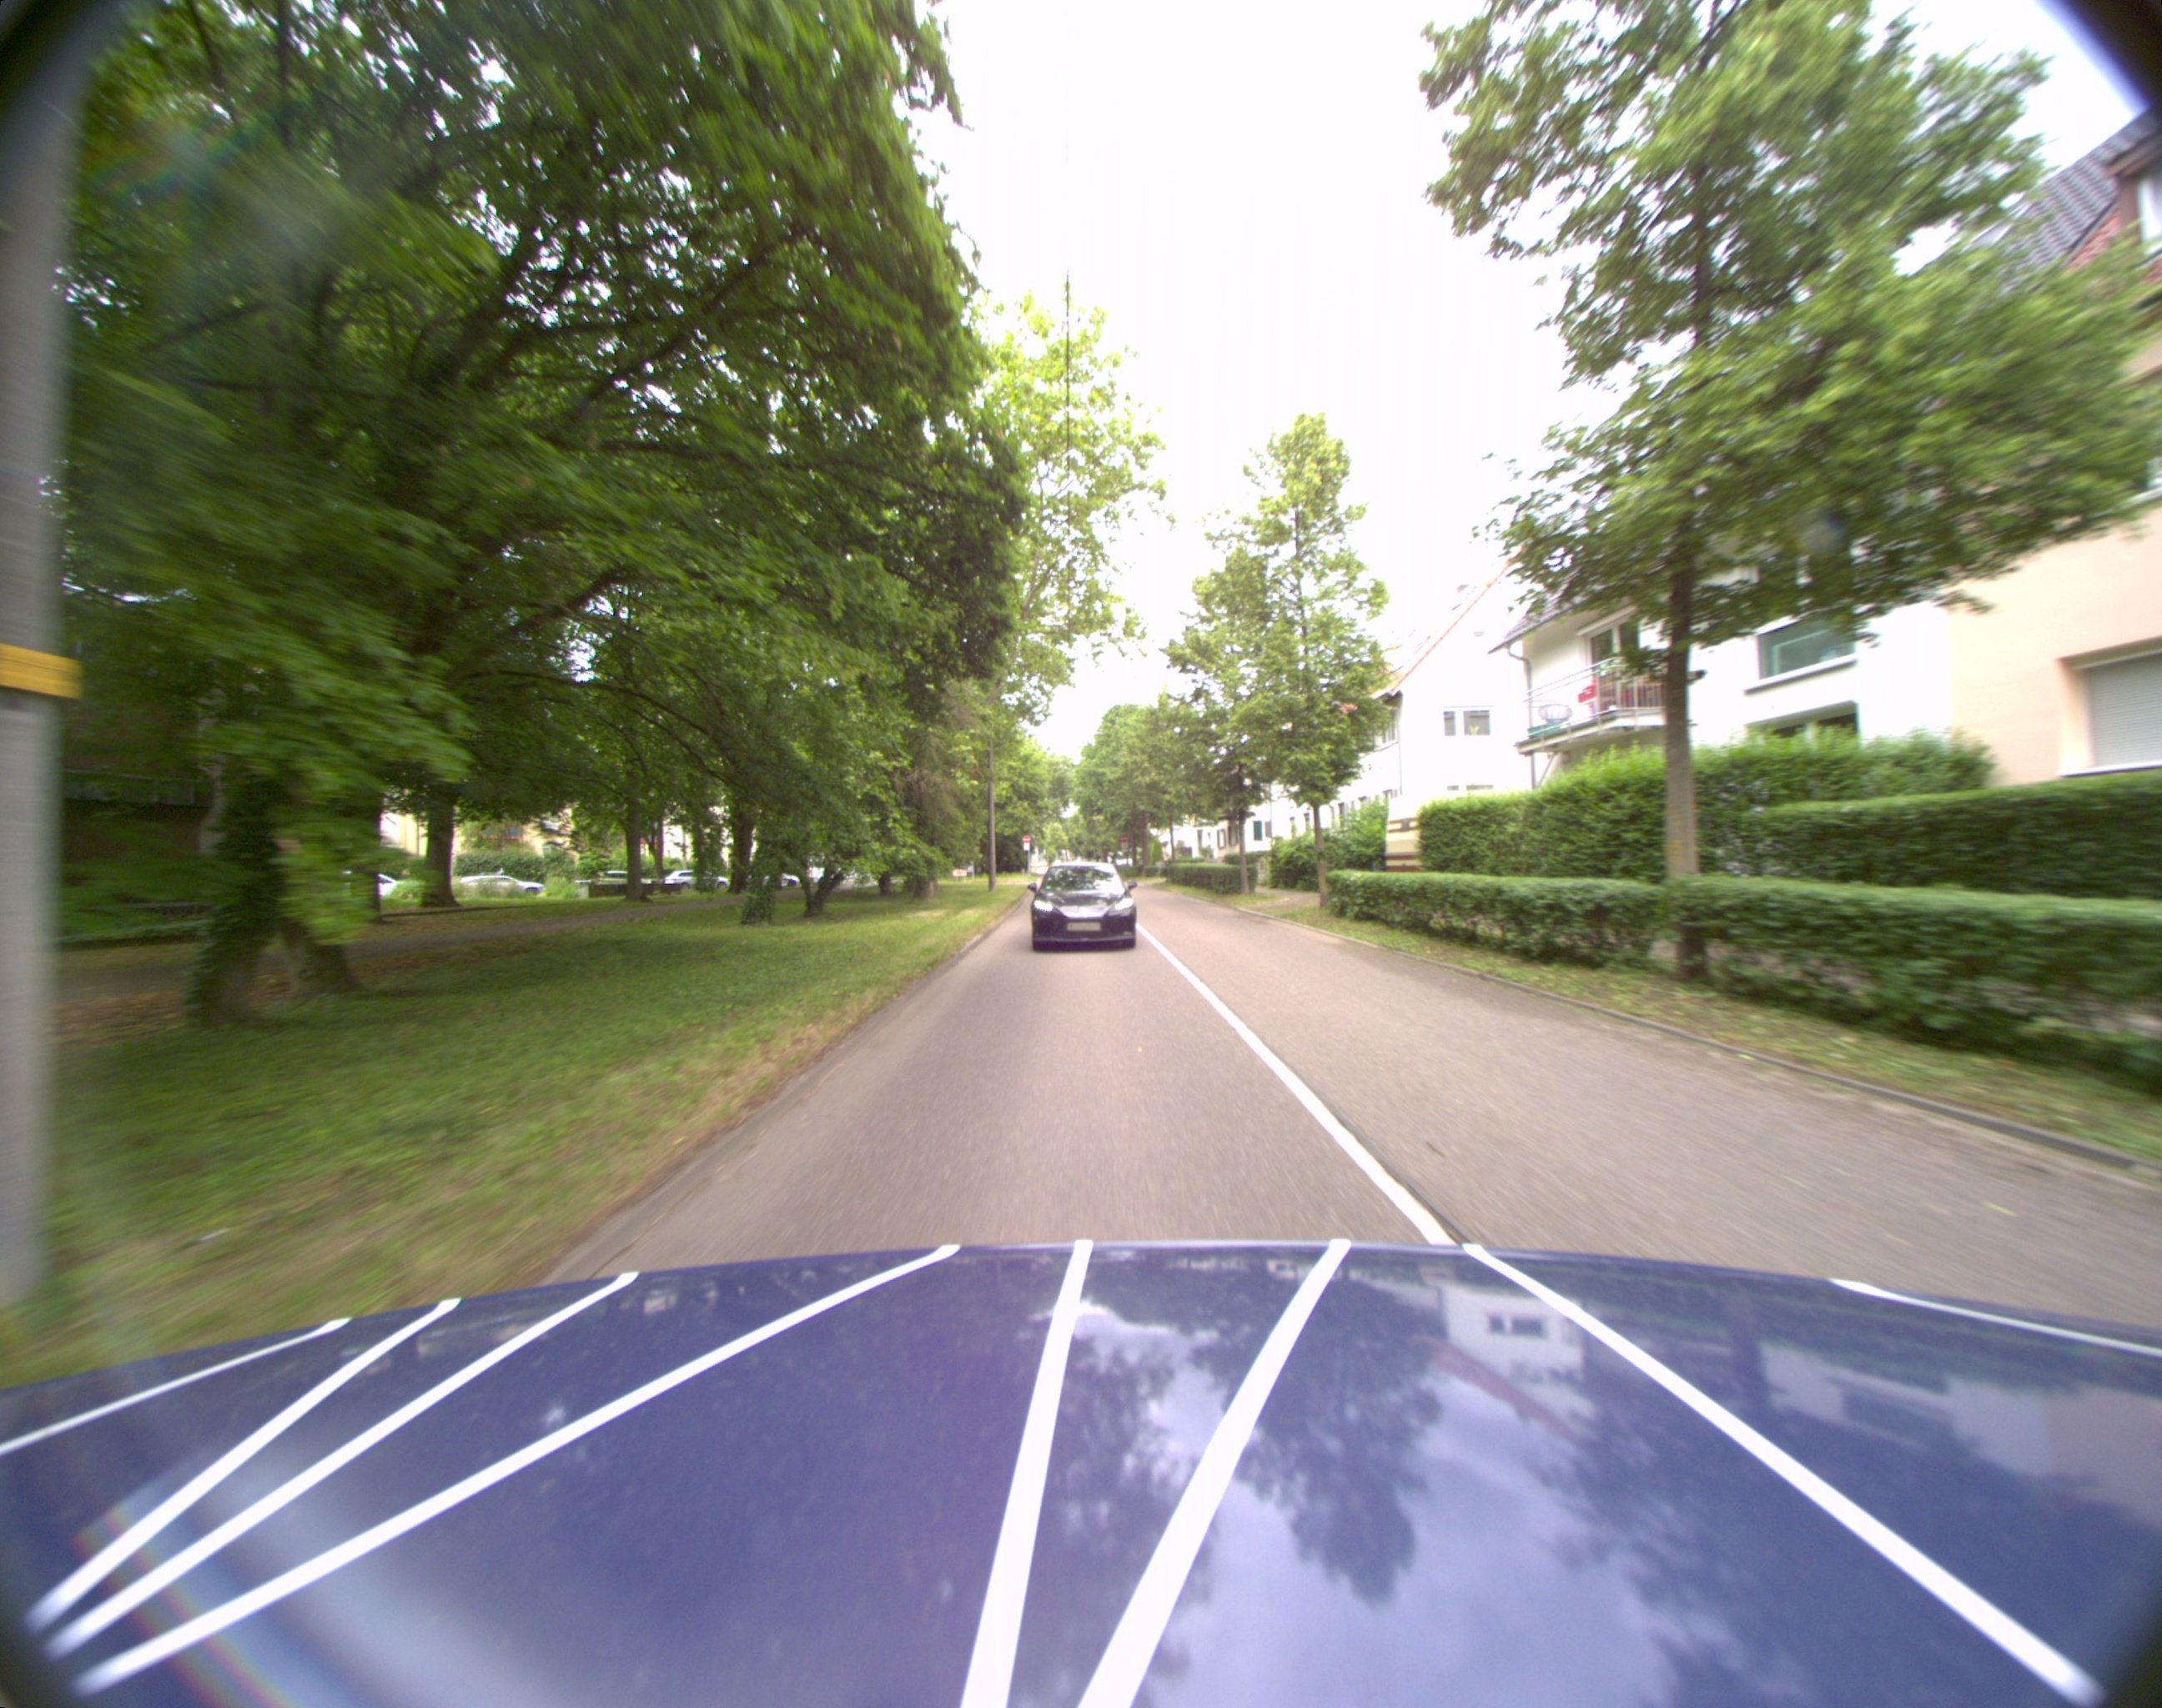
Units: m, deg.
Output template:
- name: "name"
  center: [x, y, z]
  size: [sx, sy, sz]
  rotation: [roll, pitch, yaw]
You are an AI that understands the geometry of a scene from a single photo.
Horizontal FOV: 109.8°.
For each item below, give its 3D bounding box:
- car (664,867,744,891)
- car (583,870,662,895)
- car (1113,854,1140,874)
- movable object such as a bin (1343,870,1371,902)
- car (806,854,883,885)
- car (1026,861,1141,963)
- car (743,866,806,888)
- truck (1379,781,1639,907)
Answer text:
- name: "car"
  center: [-26.367, 1.763, 53.227]
  size: [1.795, 1.501, 4.613]
  rotation: [-2, -1, 43]
- name: "car"
  center: [-29.979, 1.852, 49.734]
  size: [1.795, 1.501, 4.008]
  rotation: [-2, -1, 41]
- name: "car"
  center: [4.232, 0.901, 71.398]
  size: [1.830, 1.743, 4.451]
  rotation: [-2, 0, -5]
- name: "movable object such as a bin"
  center: [8.274, 0.960, 22.787]
  size: [0.581, 0.921, 0.693]
  rotation: [-1, 0, 1]
- name: "car"
  center: [-18.772, 1.207, 60.279]
  size: [5.336, 2.285, 2.287]
  rotation: [-1, -1, -34]
- name: "car"
  center: [0.052, 0.961, 14.625]
  size: [1.799, 1.552, 4.471]
  rotation: [-2, 0, 0]
- name: "car"
  center: [-22.898, 1.702, 56.828]
  size: [4.008, 1.501, 1.795]
  rotation: [-1, -1, -41]
- name: "truck"
  center: [11.796, -0.262, 21.306]
  size: [5.812, 3.112, 2.517]
  rotation: [-2, 0, -2]
